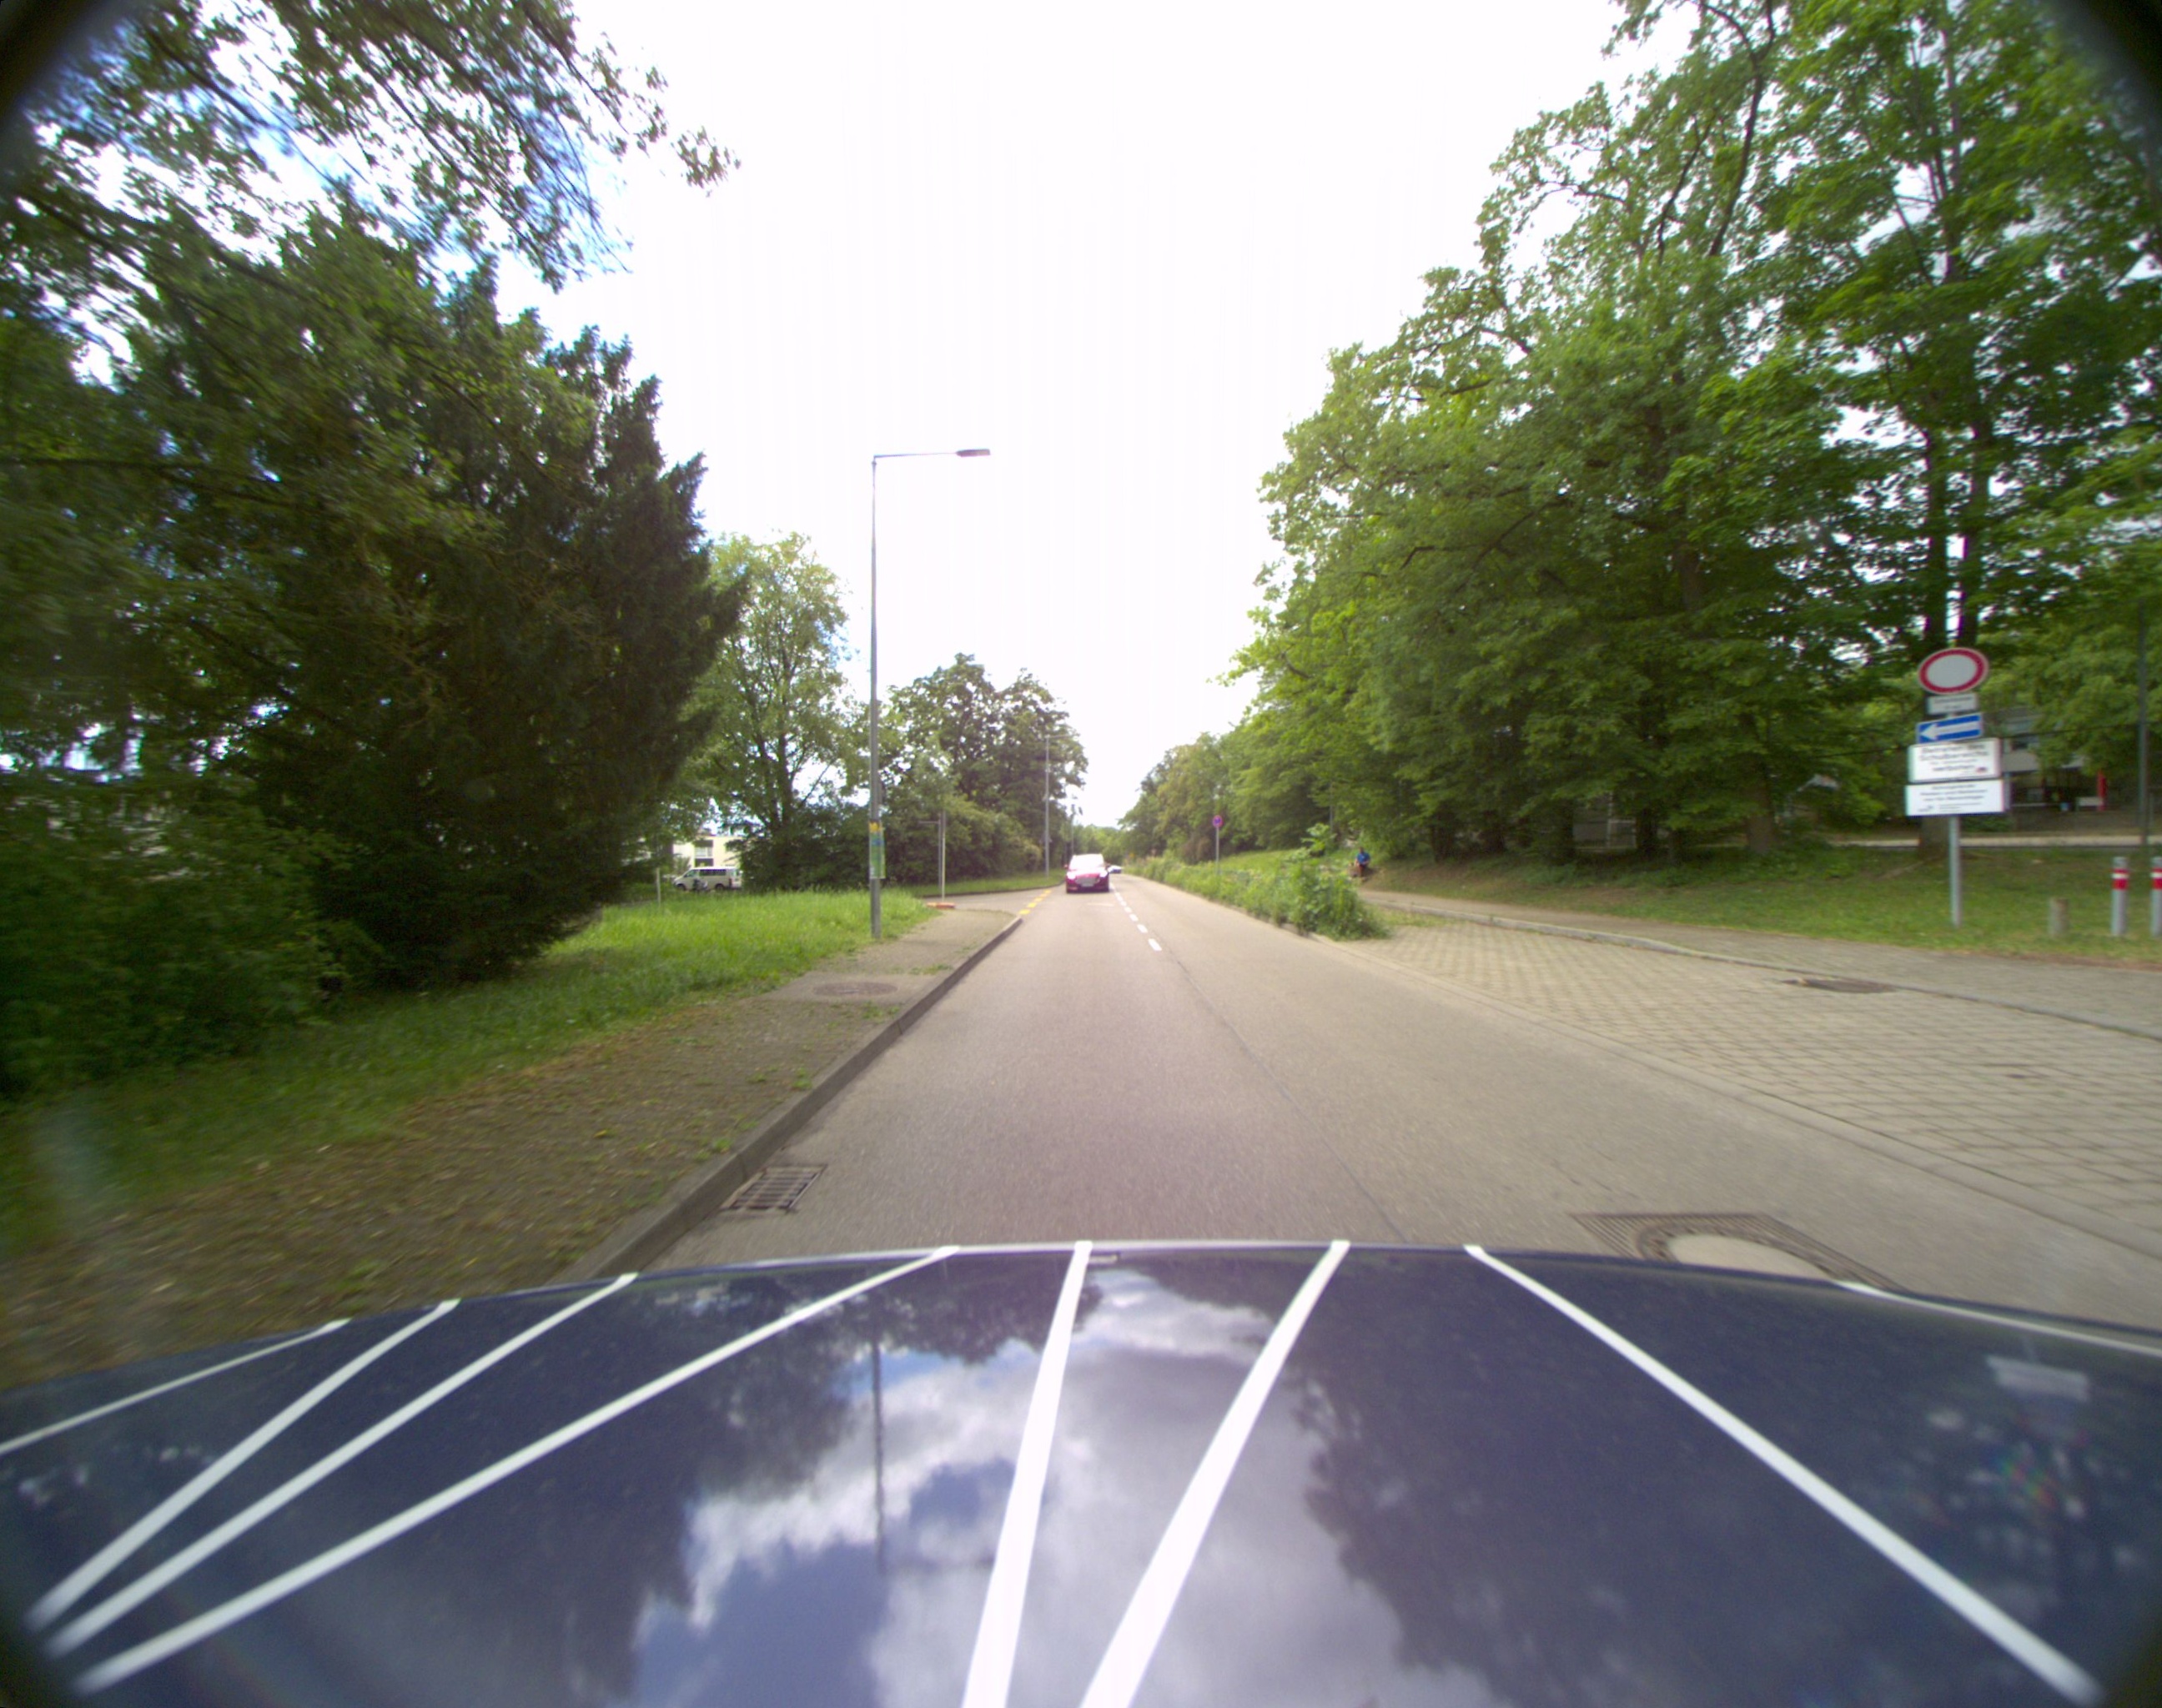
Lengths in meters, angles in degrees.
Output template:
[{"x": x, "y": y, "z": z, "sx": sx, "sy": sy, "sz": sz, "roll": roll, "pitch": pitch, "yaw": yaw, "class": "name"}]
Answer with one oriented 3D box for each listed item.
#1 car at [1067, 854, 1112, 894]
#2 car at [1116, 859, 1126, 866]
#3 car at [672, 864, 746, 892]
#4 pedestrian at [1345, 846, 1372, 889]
[{"x": 0.432, "y": 0.850, "z": 34.245, "sx": 1.861, "sy": 1.608, "sz": 4.477, "roll": -2, "pitch": 0, "yaw": 2, "class": "car"}, {"x": 7.035, "y": 1.499, "z": 132.346, "sx": 1.620, "sy": 1.324, "sz": 4.001, "roll": 0, "pitch": -1, "yaw": 1, "class": "car"}, {"x": -28.272, "y": 1.813, "z": 57.886, "sx": 4.656, "sy": 2.002, "sz": 2.000, "roll": 0, "pitch": 0, "yaw": 2, "class": "car"}, {"x": 10.854, "y": 0.530, "z": 29.759, "sx": 0.762, "sy": 1.653, "sz": 0.809, "roll": 0, "pitch": 0, "yaw": -1, "class": "pedestrian"}]
